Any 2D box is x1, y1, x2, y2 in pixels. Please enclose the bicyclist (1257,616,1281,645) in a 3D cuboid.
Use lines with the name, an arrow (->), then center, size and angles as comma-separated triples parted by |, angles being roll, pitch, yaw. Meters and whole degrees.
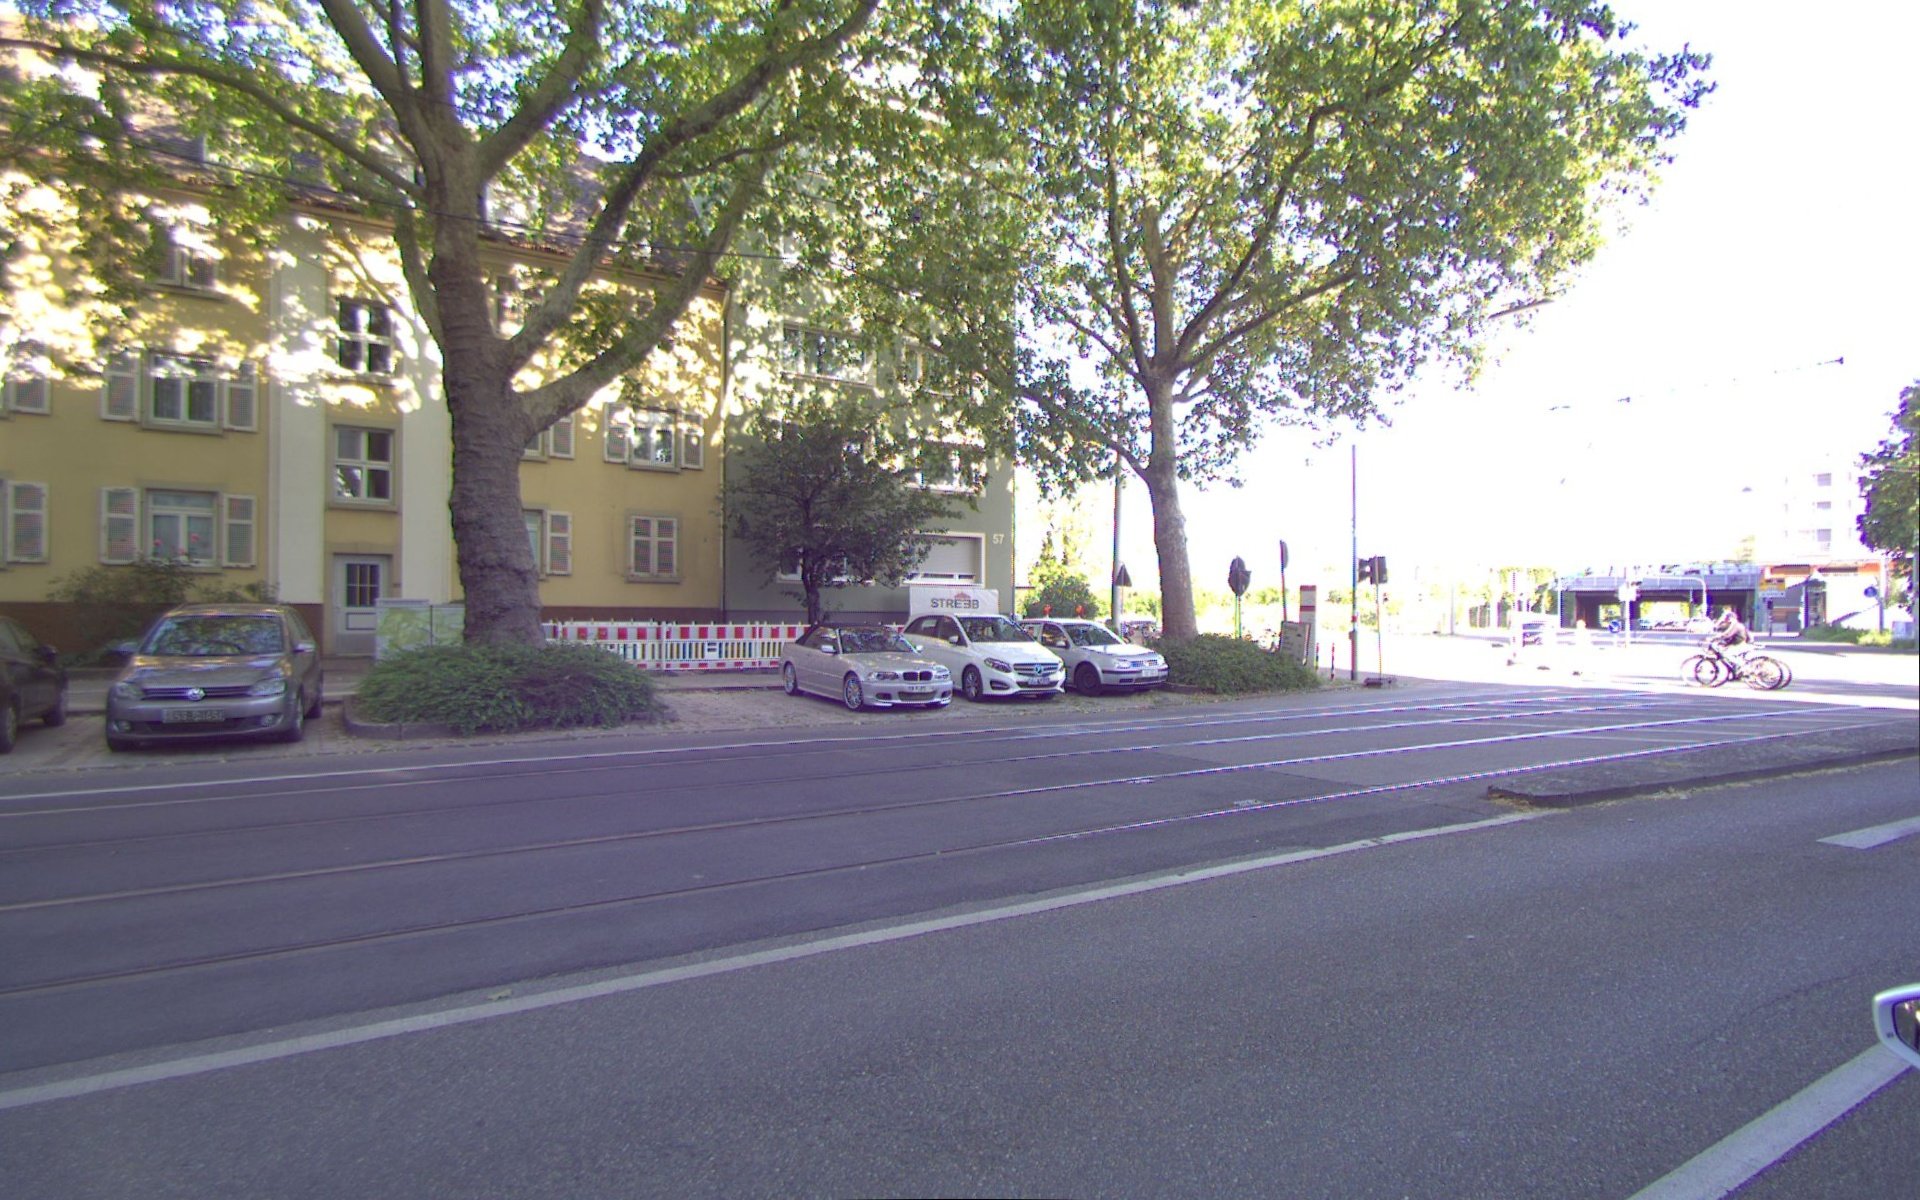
bicyclist -> 16.705, 1.640, 54.274 | 0.786, 1.591, 1.009 | 1, -1, -18

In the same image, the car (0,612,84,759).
car -> -11.399, 0.881, 11.304 | 1.723, 1.448, 3.545 | 1, 0, -31

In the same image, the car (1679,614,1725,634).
car -> 71.108, 2.283, 96.291 | 4.130, 1.829, 1.727 | 1, -1, -24

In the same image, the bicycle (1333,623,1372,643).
bicycle -> 21.932, 1.842, 56.171 | 2.003, 1.075, 0.583 | 0, -1, -5

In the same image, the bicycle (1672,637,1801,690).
bicycle -> 16.724, 1.339, 21.689 | 2.163, 1.047, 0.831 | 0, -1, 38

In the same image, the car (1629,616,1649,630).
car -> 91.623, 3.080, 135.607 | 2.183, 1.847, 4.134 | 0, -1, 34

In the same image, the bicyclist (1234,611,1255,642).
bicyclist -> 16.204, 1.486, 57.185 | 0.915, 1.730, 0.872 | 0, -1, 37

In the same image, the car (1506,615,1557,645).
car -> 32.426, 1.681, 56.947 | 1.803, 1.539, 3.876 | 2, 1, 40

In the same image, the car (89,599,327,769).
car -> -9.042, 0.859, 12.432 | 1.793, 1.627, 4.169 | 1, 1, -29

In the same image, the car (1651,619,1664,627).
car -> 138.082, 4.537, 198.905 | 1.967, 1.623, 4.234 | 0, -1, 34

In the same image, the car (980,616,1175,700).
car -> 2.294, 1.109, 20.831 | 1.656, 1.448, 4.490 | 1, 0, -30

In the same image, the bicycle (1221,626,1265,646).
bicycle -> 16.126, 2.017, 57.249 | 2.264, 1.098, 0.798 | 0, -1, 37

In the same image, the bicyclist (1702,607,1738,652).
bicyclist -> 28.223, 1.090, 37.293 | 0.638, 1.616, 0.861 | 0, -1, -15

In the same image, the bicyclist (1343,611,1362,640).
bicyclist -> 21.955, 1.434, 56.187 | 0.817, 1.584, 0.637 | 0, -1, -5

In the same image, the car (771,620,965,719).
car -> -1.735, 1.094, 17.442 | 1.708, 1.386, 4.219 | 1, 0, -31

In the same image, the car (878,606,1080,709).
car -> 0.215, 0.993, 19.486 | 1.777, 1.640, 4.587 | 1, 1, -30

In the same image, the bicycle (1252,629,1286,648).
bicycle -> 16.685, 2.072, 54.279 | 0.662, 0.997, 2.057 | 1, -1, -18

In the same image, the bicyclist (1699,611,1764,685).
bicyclist -> 16.685, 1.019, 21.737 | 1.099, 1.540, 0.918 | 0, -1, 38

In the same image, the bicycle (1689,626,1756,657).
bicycle -> 28.237, 1.526, 37.241 | 0.583, 1.108, 2.054 | 0, -1, -17
